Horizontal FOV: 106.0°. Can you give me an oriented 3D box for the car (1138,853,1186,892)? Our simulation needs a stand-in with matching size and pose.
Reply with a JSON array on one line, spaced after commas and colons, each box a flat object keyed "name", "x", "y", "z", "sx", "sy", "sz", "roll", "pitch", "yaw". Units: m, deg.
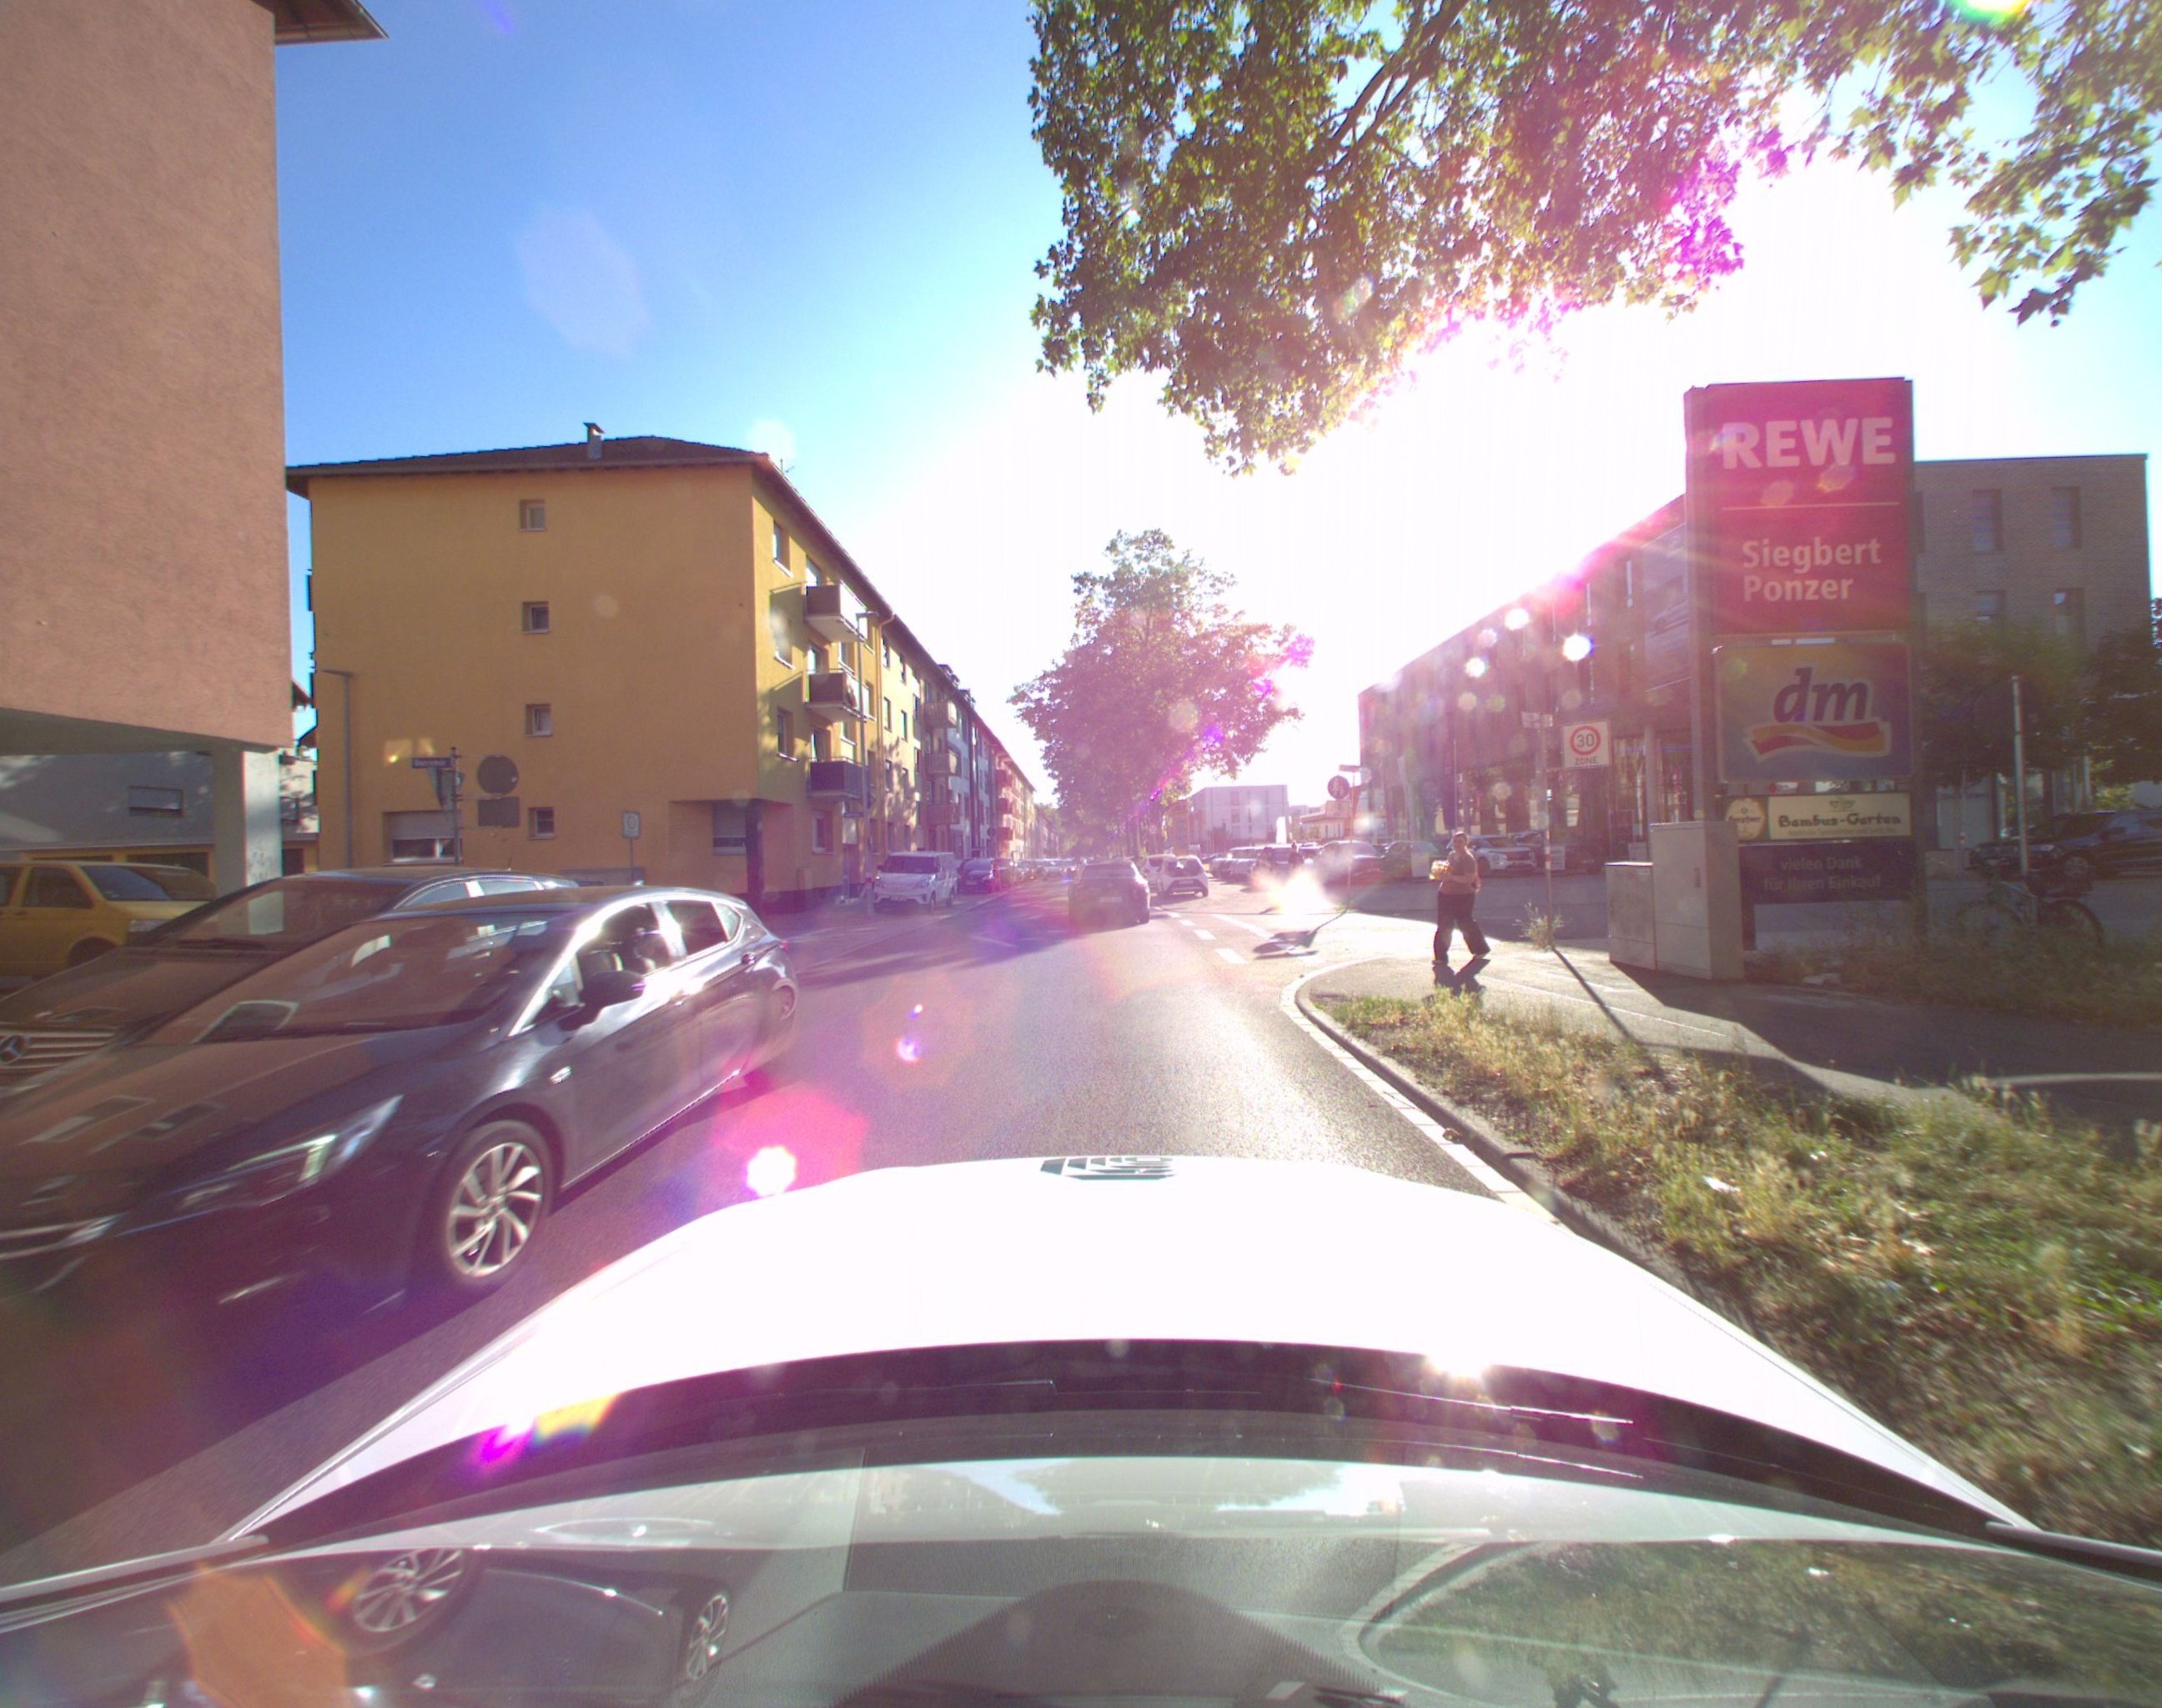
[{"name": "car", "x": 3.619, "y": 0.816, "z": 37.087, "sx": 1.803, "sy": 1.539, "sz": 4.585, "roll": -5, "pitch": -1, "yaw": 2}]

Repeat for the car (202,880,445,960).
[{"name": "car", "x": -17.373, "y": 1.475, "z": 18.811, "sx": 3.975, "sy": 1.567, "sz": 1.749, "roll": -2, "pitch": -1, "yaw": 2}]

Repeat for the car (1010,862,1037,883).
[{"name": "car", "x": -4.196, "y": 1.319, "z": 59.737, "sx": 1.591, "sy": 1.434, "sz": 4.218, "roll": 0, "pitch": 0, "yaw": 1}]

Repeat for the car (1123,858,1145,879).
[{"name": "car", "x": 4.150, "y": 1.127, "z": 64.322, "sx": 1.554, "sy": 1.596, "sz": 3.600, "roll": 0, "pitch": -1, "yaw": 0}]

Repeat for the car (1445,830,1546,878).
[{"name": "car", "x": 16.528, "y": -0.004, "z": 32.729, "sx": 1.870, "sy": 1.733, "sz": 4.178, "roll": -2, "pitch": 0, "yaw": -1}]

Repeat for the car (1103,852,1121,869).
[{"name": "car", "x": 3.860, "y": 0.875, "z": 103.064, "sx": 1.989, "sy": 2.014, "sz": 3.996, "roll": -1, "pitch": -2, "yaw": -2}]

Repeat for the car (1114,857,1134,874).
[{"name": "car", "x": 4.096, "y": 1.069, "z": 77.792, "sx": 1.716, "sy": 1.557, "sz": 3.600, "roll": 0, "pitch": -1, "yaw": 0}]

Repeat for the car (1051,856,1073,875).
[{"name": "car", "x": -1.619, "y": 0.999, "z": 70.824, "sx": 1.657, "sy": 1.523, "sz": 4.412, "roll": -3, "pitch": 0, "yaw": 1}]

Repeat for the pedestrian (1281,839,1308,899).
[{"name": "pedestrian", "x": 6.277, "y": 0.435, "z": 23.971, "sx": 0.686, "sy": 1.723, "sz": 0.724, "roll": -2, "pitch": -1, "yaw": 14}]

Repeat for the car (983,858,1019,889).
[{"name": "car", "x": -4.514, "y": 1.074, "z": 46.354, "sx": 1.591, "sy": 1.641, "sz": 4.411, "roll": 0, "pitch": 0, "yaw": 0}]

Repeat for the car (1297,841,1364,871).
[{"name": "car", "x": 14.389, "y": 0.113, "z": 46.953, "sx": 3.835, "sy": 1.511, "sz": 1.625, "roll": -3, "pitch": 0, "yaw": -35}]

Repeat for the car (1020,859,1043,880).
[{"name": "car", "x": -4.040, "y": 1.258, "z": 66.838, "sx": 1.591, "sy": 1.630, "sz": 3.837, "roll": 0, "pitch": 0, "yaw": 0}]

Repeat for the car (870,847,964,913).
[{"name": "car", "x": -5.225, "y": 0.776, "z": 26.647, "sx": 1.727, "sy": 1.907, "sz": 5.213, "roll": -1, "pitch": 0, "yaw": 3}]

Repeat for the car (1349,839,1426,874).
[{"name": "car", "x": 15.354, "y": 0.103, "z": 40.721, "sx": 3.835, "sy": 1.511, "sz": 1.625, "roll": -3, "pitch": 0, "yaw": -35}]

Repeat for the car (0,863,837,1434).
[{"name": "car", "x": -2.944, "y": 0.841, "z": 4.377, "sx": 1.764, "sy": 1.478, "sz": 4.324, "roll": -2, "pitch": 0, "yaw": 2}]

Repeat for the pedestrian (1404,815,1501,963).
[{"name": "pedestrian", "x": 4.676, "y": 0.423, "z": 10.272, "sx": 0.771, "sy": 1.761, "sz": 0.659, "roll": -4, "pitch": 0, "yaw": -23}]

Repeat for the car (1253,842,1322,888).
[{"name": "car", "x": 8.226, "y": 0.416, "z": 32.852, "sx": 1.746, "sy": 1.669, "sz": 4.159, "roll": -2, "pitch": 0, "yaw": 1}]

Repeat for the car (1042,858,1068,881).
[{"name": "car", "x": -1.848, "y": 1.104, "z": 59.219, "sx": 1.633, "sy": 1.523, "sz": 3.935, "roll": -1, "pitch": 0, "yaw": 1}]

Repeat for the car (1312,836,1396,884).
[{"name": "car", "x": 10.913, "y": 0.225, "z": 32.893, "sx": 1.820, "sy": 1.731, "sz": 4.366, "roll": -2, "pitch": 0, "yaw": -1}]

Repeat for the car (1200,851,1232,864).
[{"name": "car", "x": 18.369, "y": 0.480, "z": 110.644, "sx": 3.975, "sy": 1.529, "sz": 1.806, "roll": -1, "pitch": -2, "yaw": -1}]

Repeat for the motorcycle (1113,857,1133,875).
[{"name": "motorcycle", "x": 3.636, "y": 1.050, "z": 70.565, "sx": 1.647, "sy": 1.557, "sz": 0.607, "roll": 0, "pitch": -1, "yaw": -21}]

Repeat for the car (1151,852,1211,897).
[{"name": "car", "x": 3.640, "y": 0.733, "z": 30.253, "sx": 1.630, "sy": 1.468, "sz": 4.020, "roll": -4, "pitch": -1, "yaw": 0}]

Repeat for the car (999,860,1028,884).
[{"name": "car", "x": -4.392, "y": 1.140, "z": 53.529, "sx": 1.543, "sy": 1.523, "sz": 4.004, "roll": 0, "pitch": 0, "yaw": 0}]

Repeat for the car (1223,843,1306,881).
[{"name": "car", "x": 8.951, "y": 0.373, "z": 39.624, "sx": 3.835, "sy": 1.609, "sz": 1.723, "roll": -3, "pitch": 0, "yaw": -35}]

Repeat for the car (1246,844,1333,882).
[{"name": "car", "x": 9.484, "y": 0.402, "z": 36.973, "sx": 3.833, "sy": 1.545, "sz": 1.646, "roll": -2, "pitch": 0, "yaw": -33}]

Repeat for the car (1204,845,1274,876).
[{"name": "car", "x": 8.995, "y": 0.367, "z": 46.333, "sx": 3.837, "sy": 1.578, "sz": 1.727, "roll": -3, "pitch": 0, "yaw": -37}]

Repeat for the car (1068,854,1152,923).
[{"name": "car", "x": 0.778, "y": 0.728, "z": 19.150, "sx": 1.736, "sy": 1.443, "sz": 3.975, "roll": 0, "pitch": 0, "yaw": 5}]

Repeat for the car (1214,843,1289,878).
[{"name": "car", "x": 8.963, "y": 0.332, "z": 42.700, "sx": 3.837, "sy": 1.578, "sz": 1.722, "roll": -3, "pitch": 0, "yaw": -37}]

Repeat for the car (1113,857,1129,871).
[{"name": "car", "x": 4.359, "y": 1.089, "z": 89.852, "sx": 1.628, "sy": 1.557, "sz": 3.600, "roll": 0, "pitch": -1, "yaw": 0}]

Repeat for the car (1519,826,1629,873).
[{"name": "car", "x": 19.738, "y": -0.167, "z": 32.848, "sx": 1.978, "sy": 1.733, "sz": 4.182, "roll": -2, "pitch": 0, "yaw": 2}]

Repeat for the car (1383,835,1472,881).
[{"name": "car", "x": 13.859, "y": 0.153, "z": 32.841, "sx": 1.722, "sy": 1.684, "sz": 4.178, "roll": -2, "pitch": 0, "yaw": -1}]

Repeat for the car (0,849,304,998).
[{"name": "car", "x": -15.191, "y": 1.039, "z": 12.506, "sx": 4.727, "sy": 2.014, "sz": 1.921, "roll": -2, "pitch": -1, "yaw": 3}]

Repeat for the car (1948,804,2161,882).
[{"name": "car", "x": 24.680, "y": -0.303, "z": 20.085, "sx": 4.470, "sy": 1.662, "sz": 2.029, "roll": -3, "pitch": 0, "yaw": -2}]

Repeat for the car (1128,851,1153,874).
[{"name": "car", "x": 4.267, "y": 0.592, "z": 58.448, "sx": 1.554, "sy": 1.596, "sz": 3.600, "roll": 0, "pitch": -1, "yaw": 0}]

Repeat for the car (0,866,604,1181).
[{"name": "car", "x": -5.687, "y": 0.883, "z": 6.124, "sx": 1.671, "sy": 1.523, "sz": 4.024, "roll": 0, "pitch": 0, "yaw": 3}]

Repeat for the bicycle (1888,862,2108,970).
[{"name": "bicycle", "x": 9.452, "y": 0.599, "z": 8.473, "sx": 0.383, "sy": 1.003, "sz": 1.479, "roll": -2, "pitch": 0, "yaw": -15}]

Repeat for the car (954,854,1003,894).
[{"name": "car", "x": -4.855, "y": 0.910, "z": 38.944, "sx": 1.739, "sy": 1.787, "sz": 4.548, "roll": 0, "pitch": 0, "yaw": 0}]
